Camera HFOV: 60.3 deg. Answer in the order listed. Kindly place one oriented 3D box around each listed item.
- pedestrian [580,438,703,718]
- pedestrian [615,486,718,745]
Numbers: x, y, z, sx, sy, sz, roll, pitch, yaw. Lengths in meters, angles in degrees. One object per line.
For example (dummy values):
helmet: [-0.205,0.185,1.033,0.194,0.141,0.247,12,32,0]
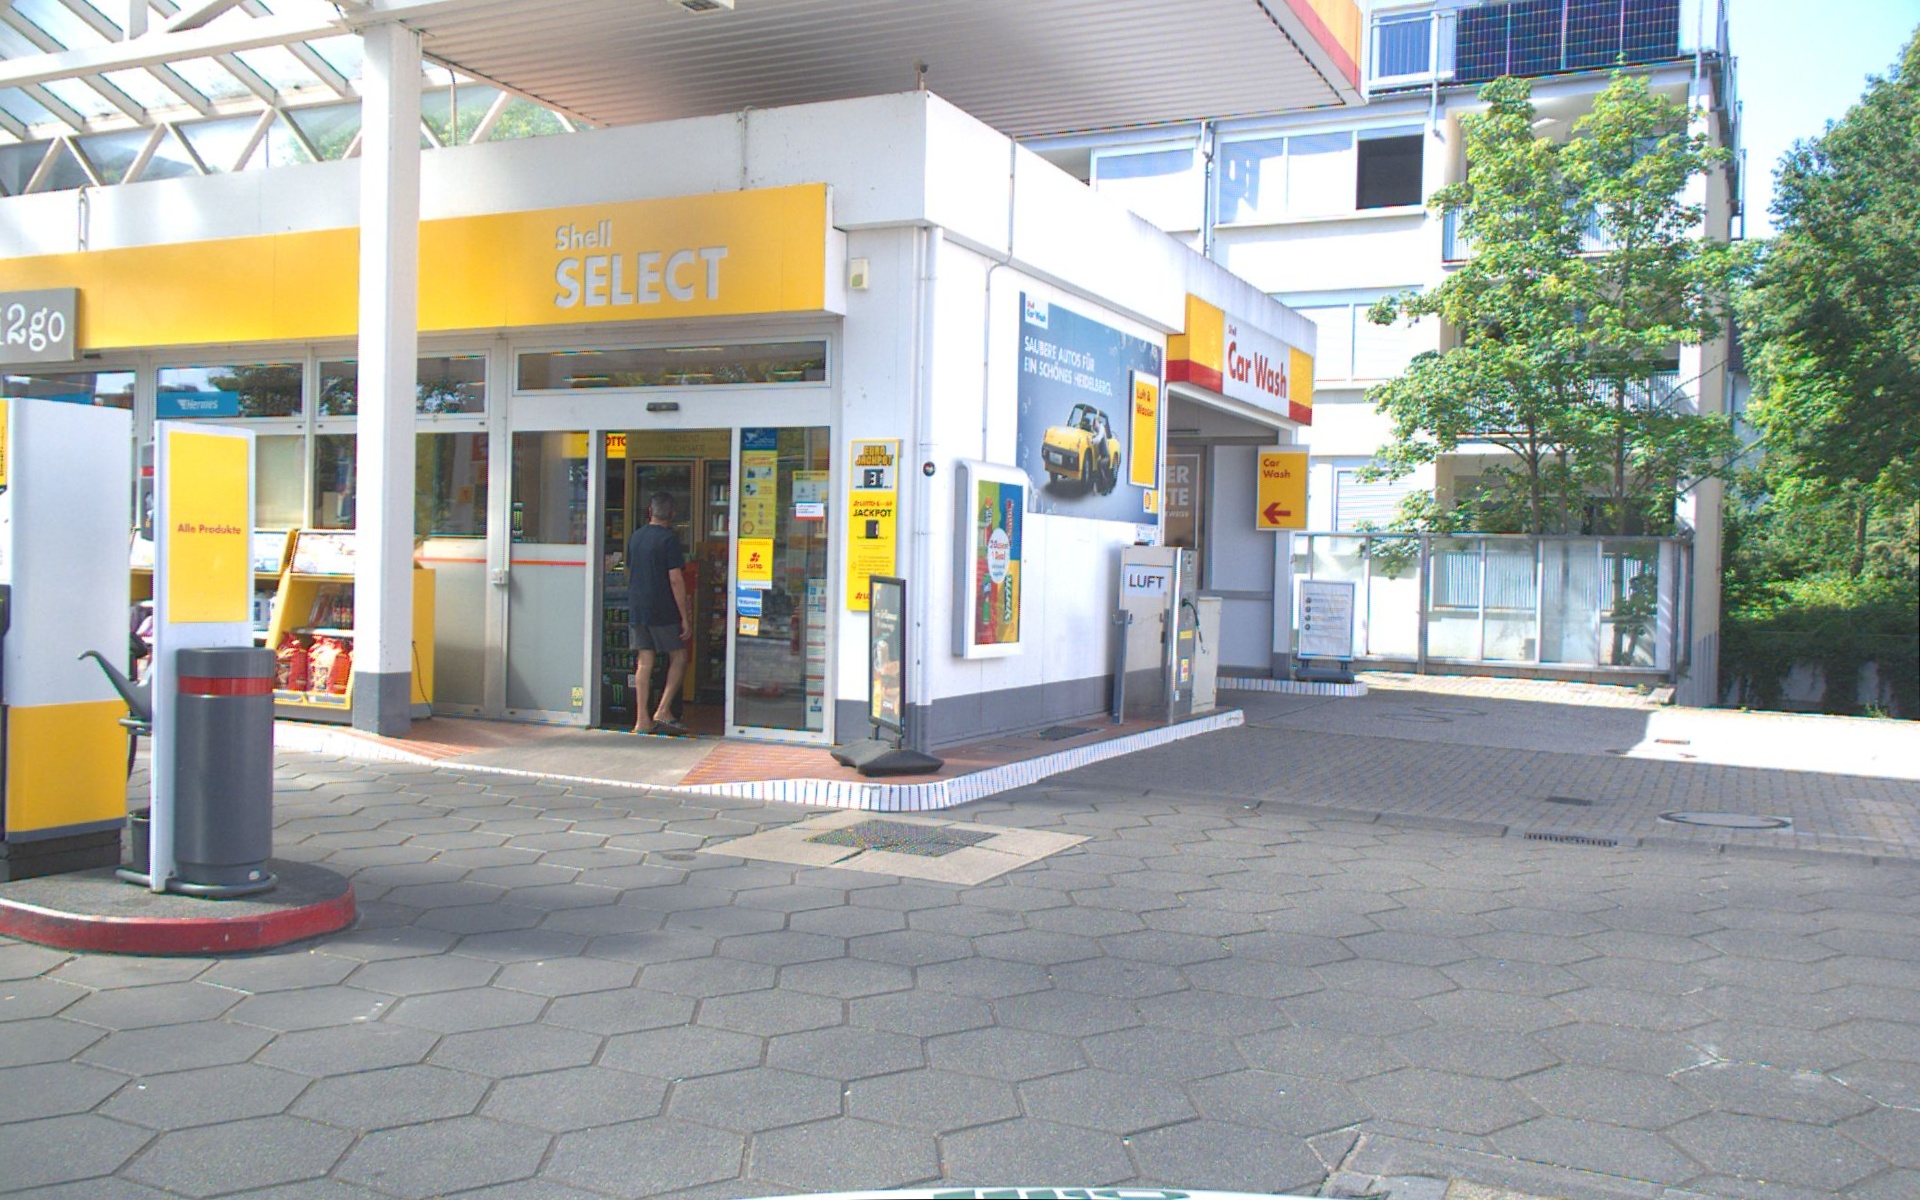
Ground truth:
pedestrian: [-2.402,-0.172,12.538,0.608,2.048,0.743,1,1,17]
pedestrian: [-2.092,0.104,11.818,0.559,1.792,0.531,1,1,5]
